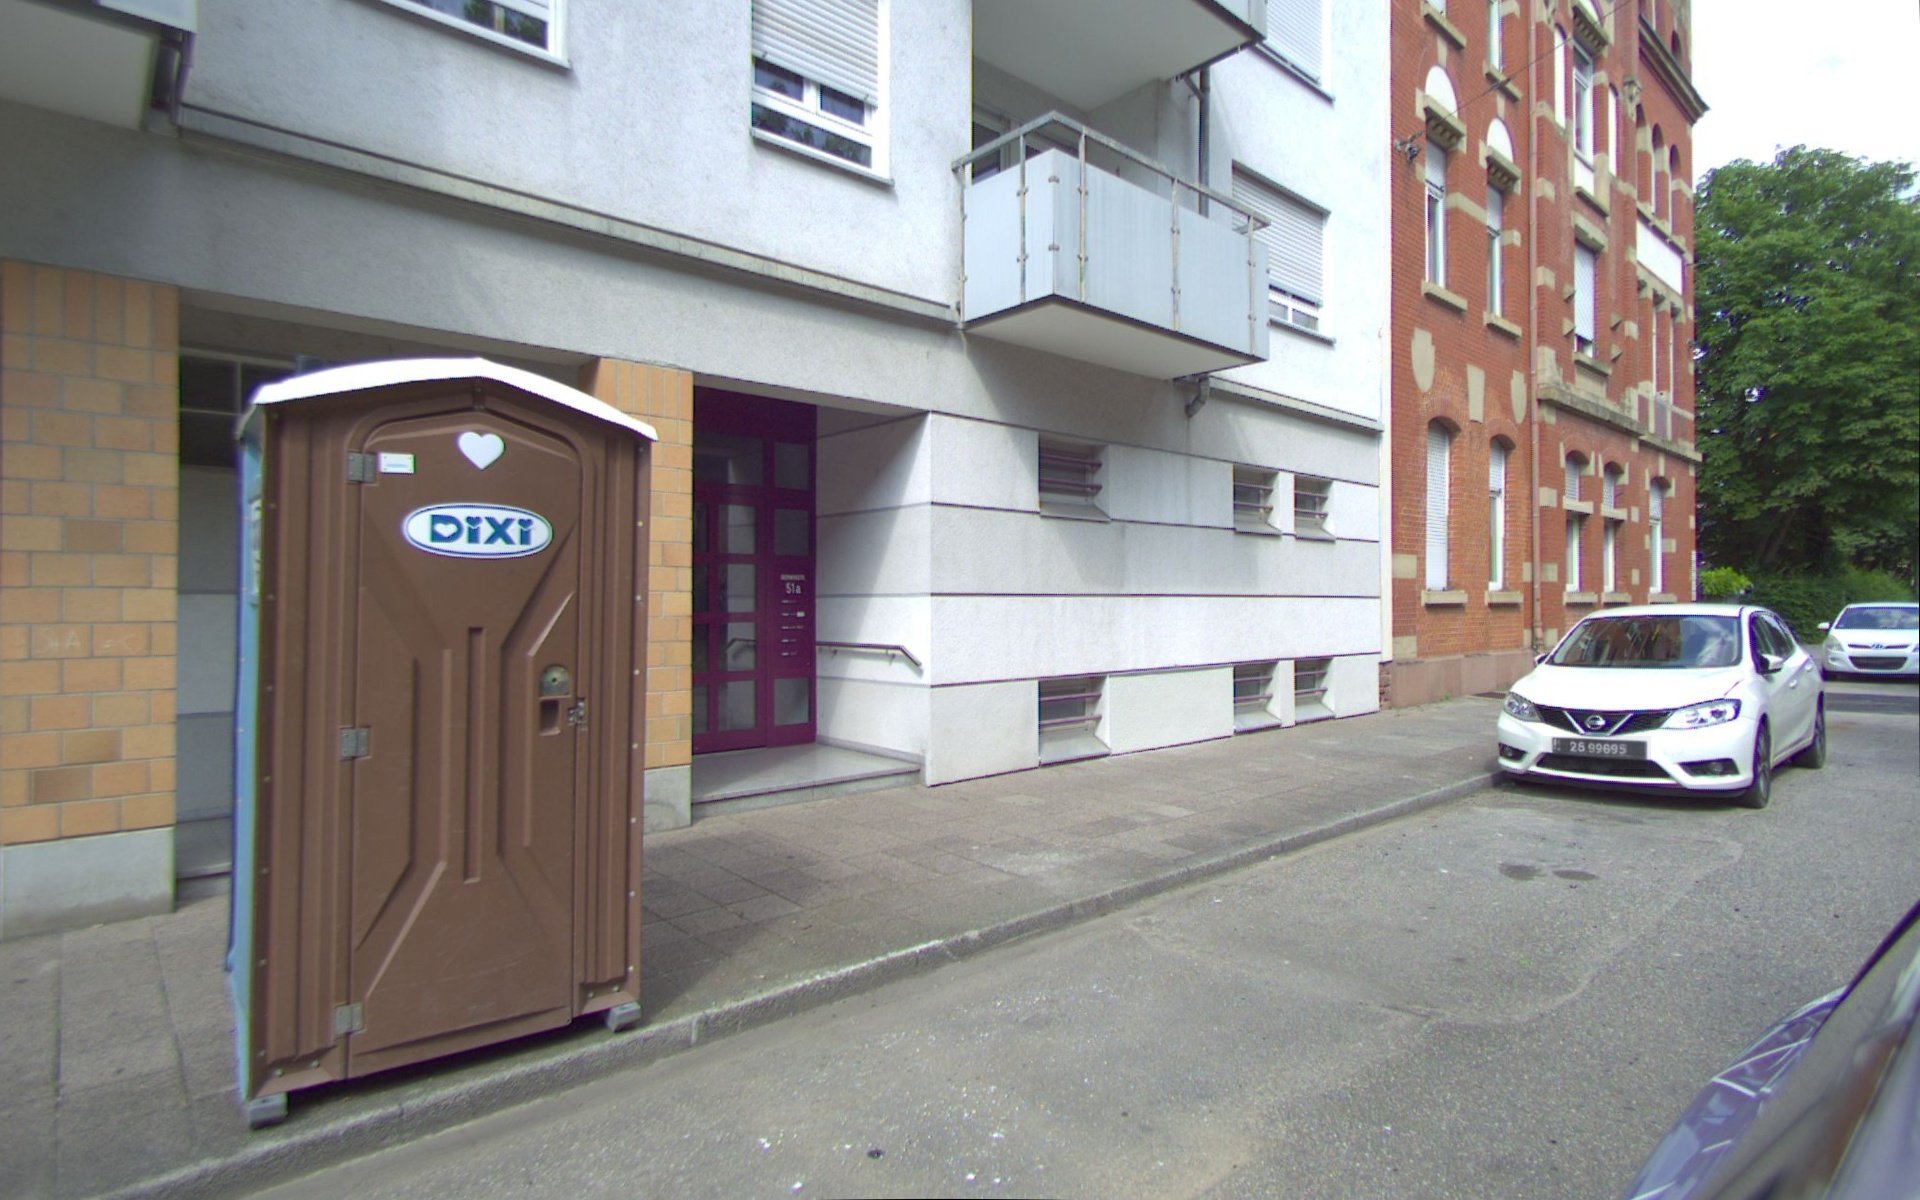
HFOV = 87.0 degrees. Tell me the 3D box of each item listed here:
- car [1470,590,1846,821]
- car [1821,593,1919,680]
[{"bbox_3d":[6.183,0.718,8.794,3.971,1.549,1.799,0,-1,-42],"label":"car"},{"bbox_3d":[18.187,0.647,19.563,3.971,1.549,1.799,0,-1,-42],"label":"car"}]
